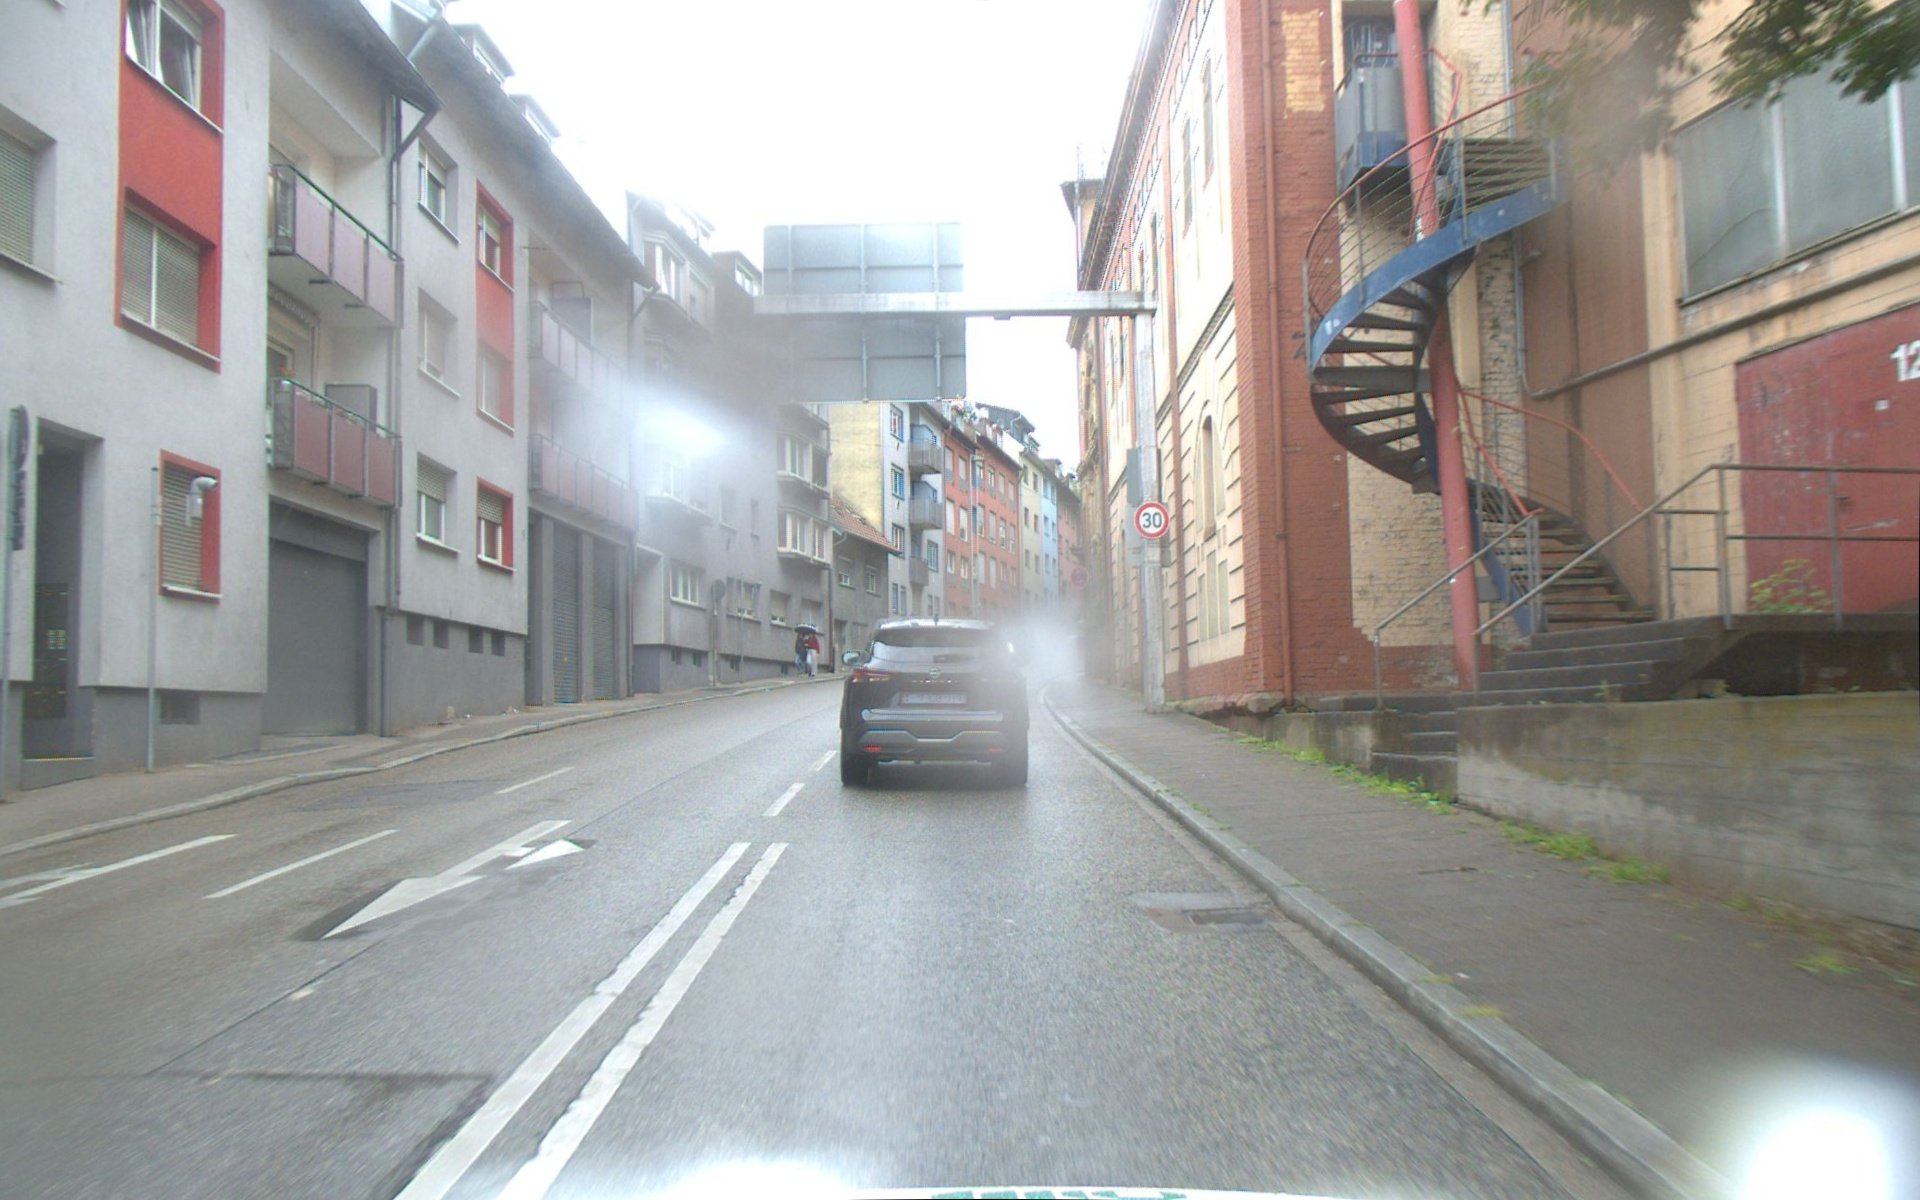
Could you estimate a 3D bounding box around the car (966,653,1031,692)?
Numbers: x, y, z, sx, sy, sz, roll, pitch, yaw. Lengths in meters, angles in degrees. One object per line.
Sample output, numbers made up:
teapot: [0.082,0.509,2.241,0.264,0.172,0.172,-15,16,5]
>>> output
car: [1.616,3.013,68.246,1.756,1.537,4.002,-2,-4,15]

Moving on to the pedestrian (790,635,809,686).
pedestrian: [-5.769,2.184,59.516,0.512,1.807,0.623,-2,-1,6]

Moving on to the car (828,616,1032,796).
car: [-0.326,1.018,16.966,1.843,1.622,3.919,0,-2,-2]

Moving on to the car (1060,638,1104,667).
car: [7.294,3.120,98.518,1.727,1.604,4.038,-2,-2,16]

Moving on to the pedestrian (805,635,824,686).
pedestrian: [-5.240,2.169,59.460,0.512,1.807,0.623,-2,-1,6]
